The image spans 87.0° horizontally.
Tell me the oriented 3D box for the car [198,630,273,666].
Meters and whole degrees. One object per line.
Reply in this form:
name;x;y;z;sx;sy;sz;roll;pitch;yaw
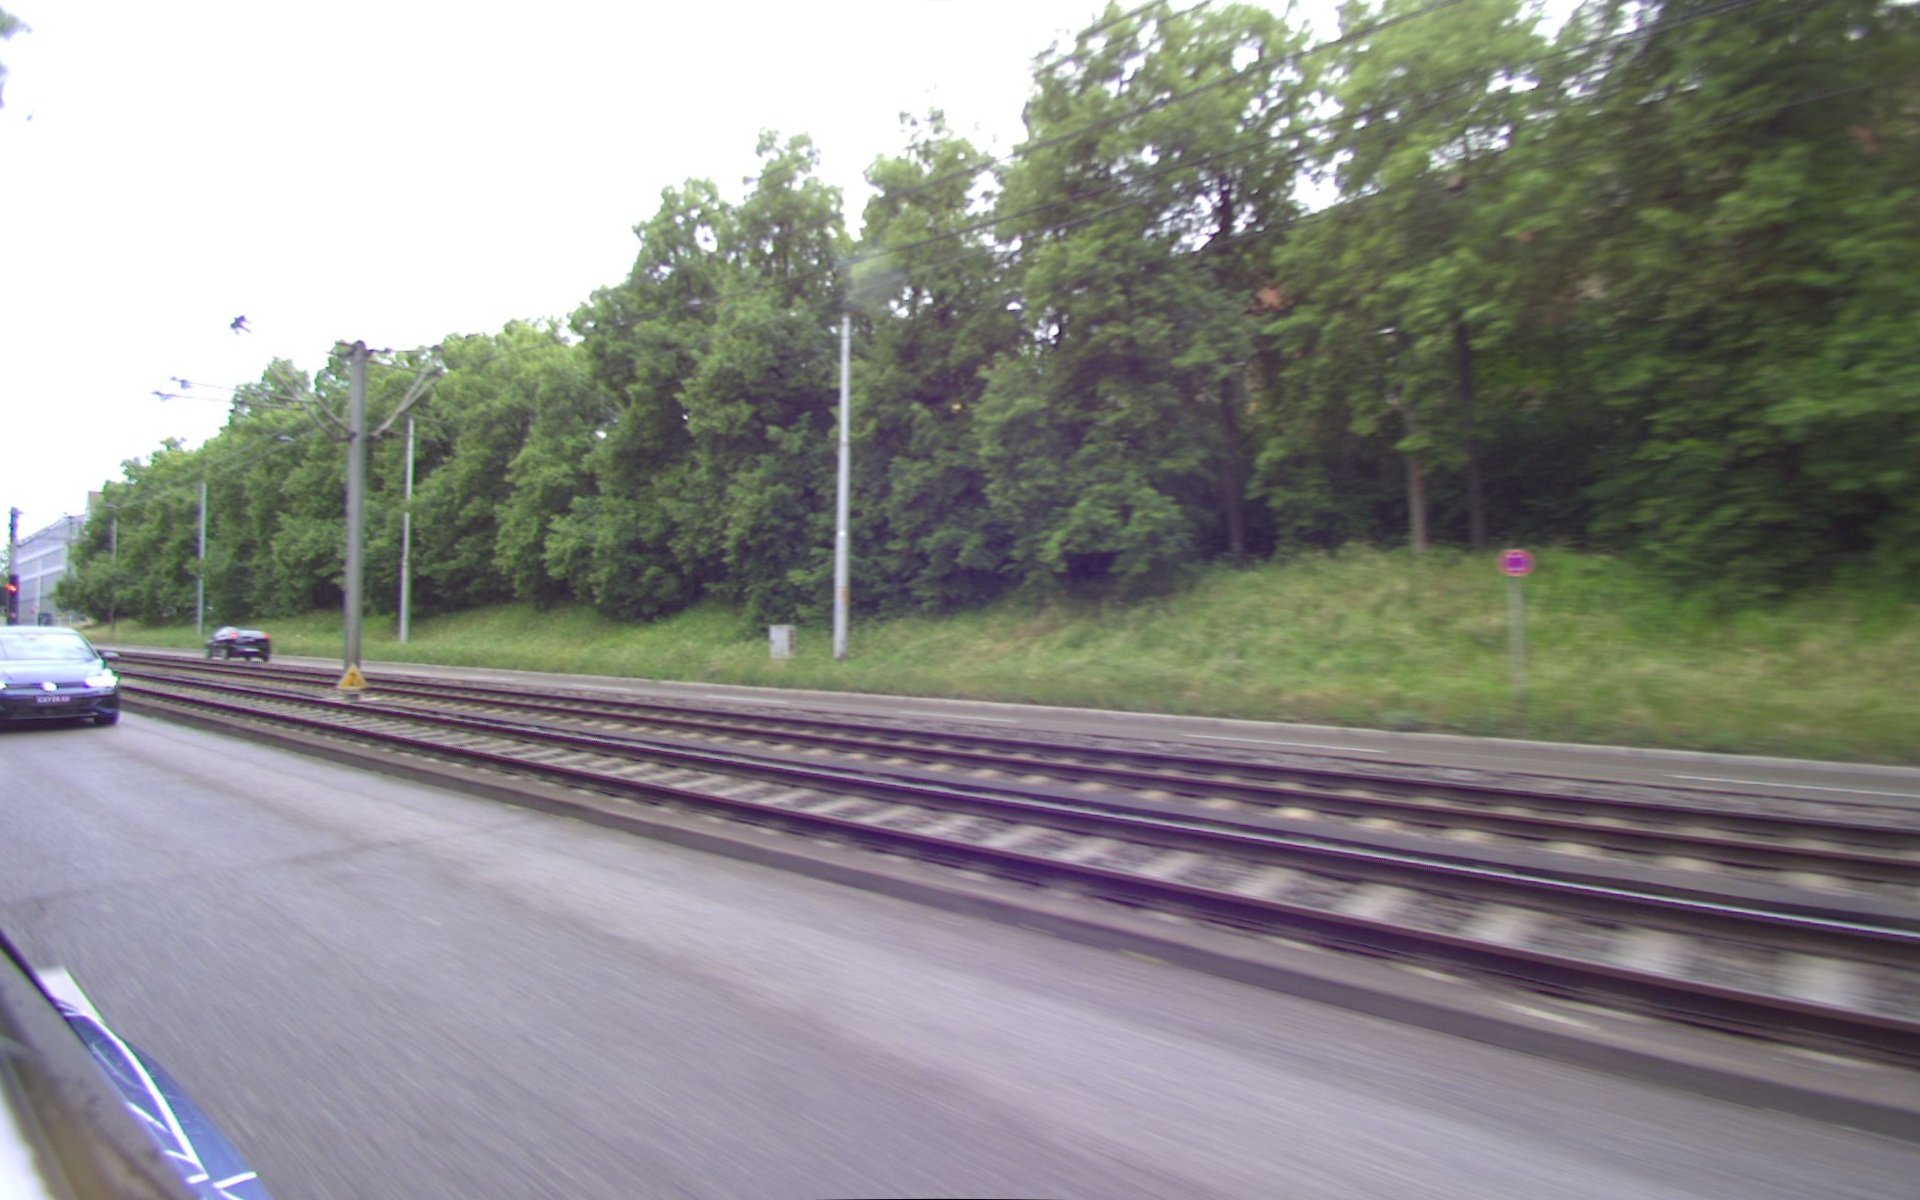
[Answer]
car;-31.484;2.056;43.946;4.023;1.454;1.653;-1;-5;40

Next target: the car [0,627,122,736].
car;-13.984;1.133;15.025;3.831;1.459;1.748;-1;-3;41
